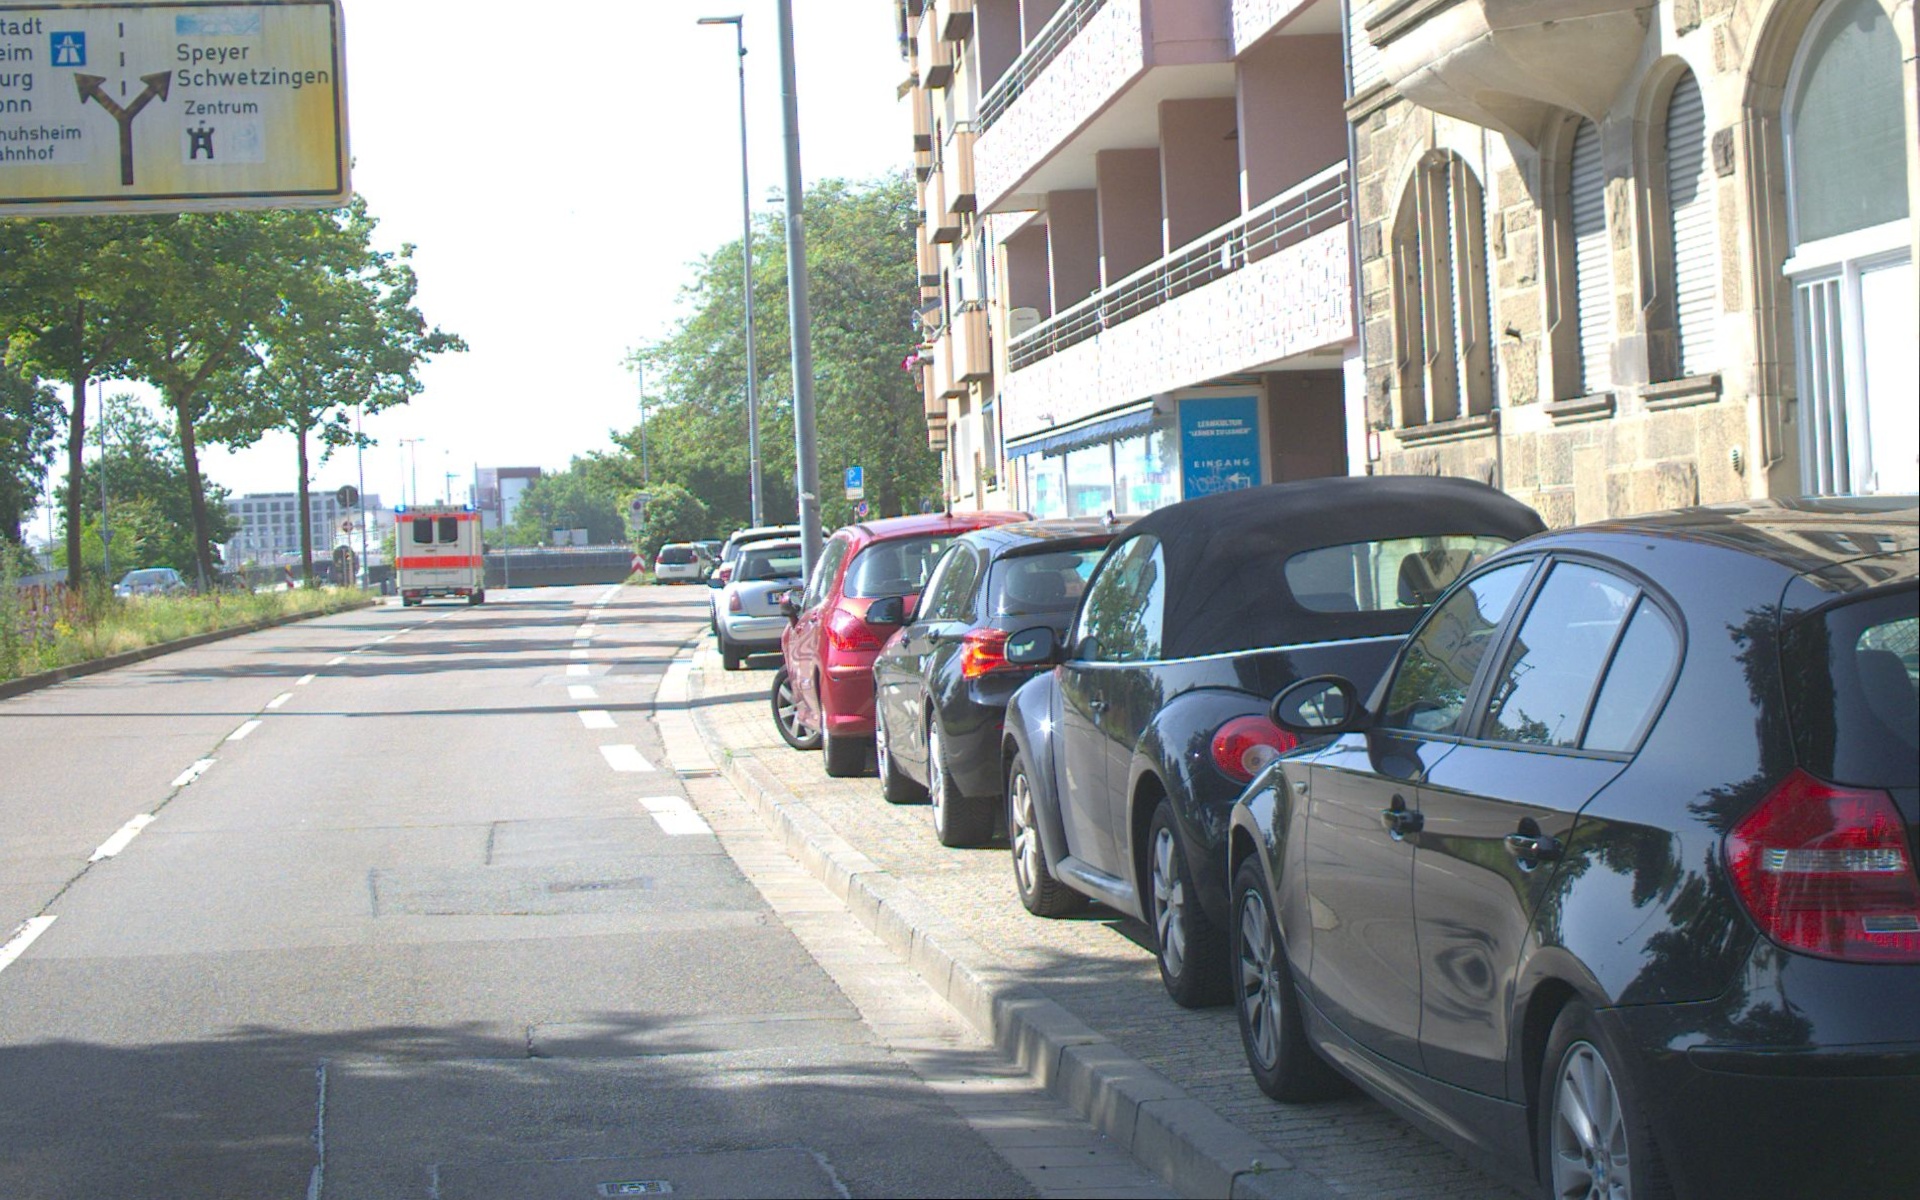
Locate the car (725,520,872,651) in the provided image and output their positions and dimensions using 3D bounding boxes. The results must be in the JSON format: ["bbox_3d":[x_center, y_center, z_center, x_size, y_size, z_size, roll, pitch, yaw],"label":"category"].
[{"bbox_3d":[-2.132,-0.217,44.799,1.736,1.536,4.354,-3,1,-3],"label":"car"}]

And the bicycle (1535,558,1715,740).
[{"bbox_3d":[3.779,0.258,19.643,0.507,0.966,1.653,-3,1,-6],"label":"bicycle"}]

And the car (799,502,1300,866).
[{"bbox_3d":[0.292,0.326,16.574,1.642,1.448,4.128,-3,1,-9],"label":"car"}]

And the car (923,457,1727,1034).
[{"bbox_3d":[1.016,0.379,11.605,1.642,1.496,4.011,-4,1,-9],"label":"car"}]

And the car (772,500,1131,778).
[{"bbox_3d":[-0.154,0.194,21.699,1.784,1.477,4.001,-4,1,-6],"label":"car"}]

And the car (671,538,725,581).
[{"bbox_3d":[-9.551,-1.483,125.679,1.619,1.500,3.461,-1,1,1],"label":"car"}]

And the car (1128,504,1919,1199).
[{"bbox_3d":[1.634,0.530,7.018,1.740,1.411,4.082,-3,1,-9],"label":"car"}]

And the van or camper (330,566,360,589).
[{"bbox_3d":[-38.330,-1.400,214.318,1.466,1.345,4.631,-2,1,-5],"label":"van or camper"}]

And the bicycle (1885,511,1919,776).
[{"bbox_3d":[4.558,0.178,14.323,0.655,1.142,1.627,-5,1,-10],"label":"bicycle"}]

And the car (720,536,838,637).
[{"bbox_3d":[-2.883,-0.227,54.540,1.756,1.500,4.128,-1,1,-3],"label":"car"}]

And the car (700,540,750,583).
[{"bbox_3d":[-9.253,-1.534,135.823,1.771,1.574,4.187,-3,1,-2],"label":"car"}]

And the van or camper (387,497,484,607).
[{"bbox_3d":[-14.181,-1.291,93.249,2.296,2.779,5.572,-3,1,-7],"label":"van or camper"}]

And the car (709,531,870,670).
[{"bbox_3d":[-1.972,-0.032,39.872,1.678,1.404,3.431,-4,1,-3],"label":"car"}]
